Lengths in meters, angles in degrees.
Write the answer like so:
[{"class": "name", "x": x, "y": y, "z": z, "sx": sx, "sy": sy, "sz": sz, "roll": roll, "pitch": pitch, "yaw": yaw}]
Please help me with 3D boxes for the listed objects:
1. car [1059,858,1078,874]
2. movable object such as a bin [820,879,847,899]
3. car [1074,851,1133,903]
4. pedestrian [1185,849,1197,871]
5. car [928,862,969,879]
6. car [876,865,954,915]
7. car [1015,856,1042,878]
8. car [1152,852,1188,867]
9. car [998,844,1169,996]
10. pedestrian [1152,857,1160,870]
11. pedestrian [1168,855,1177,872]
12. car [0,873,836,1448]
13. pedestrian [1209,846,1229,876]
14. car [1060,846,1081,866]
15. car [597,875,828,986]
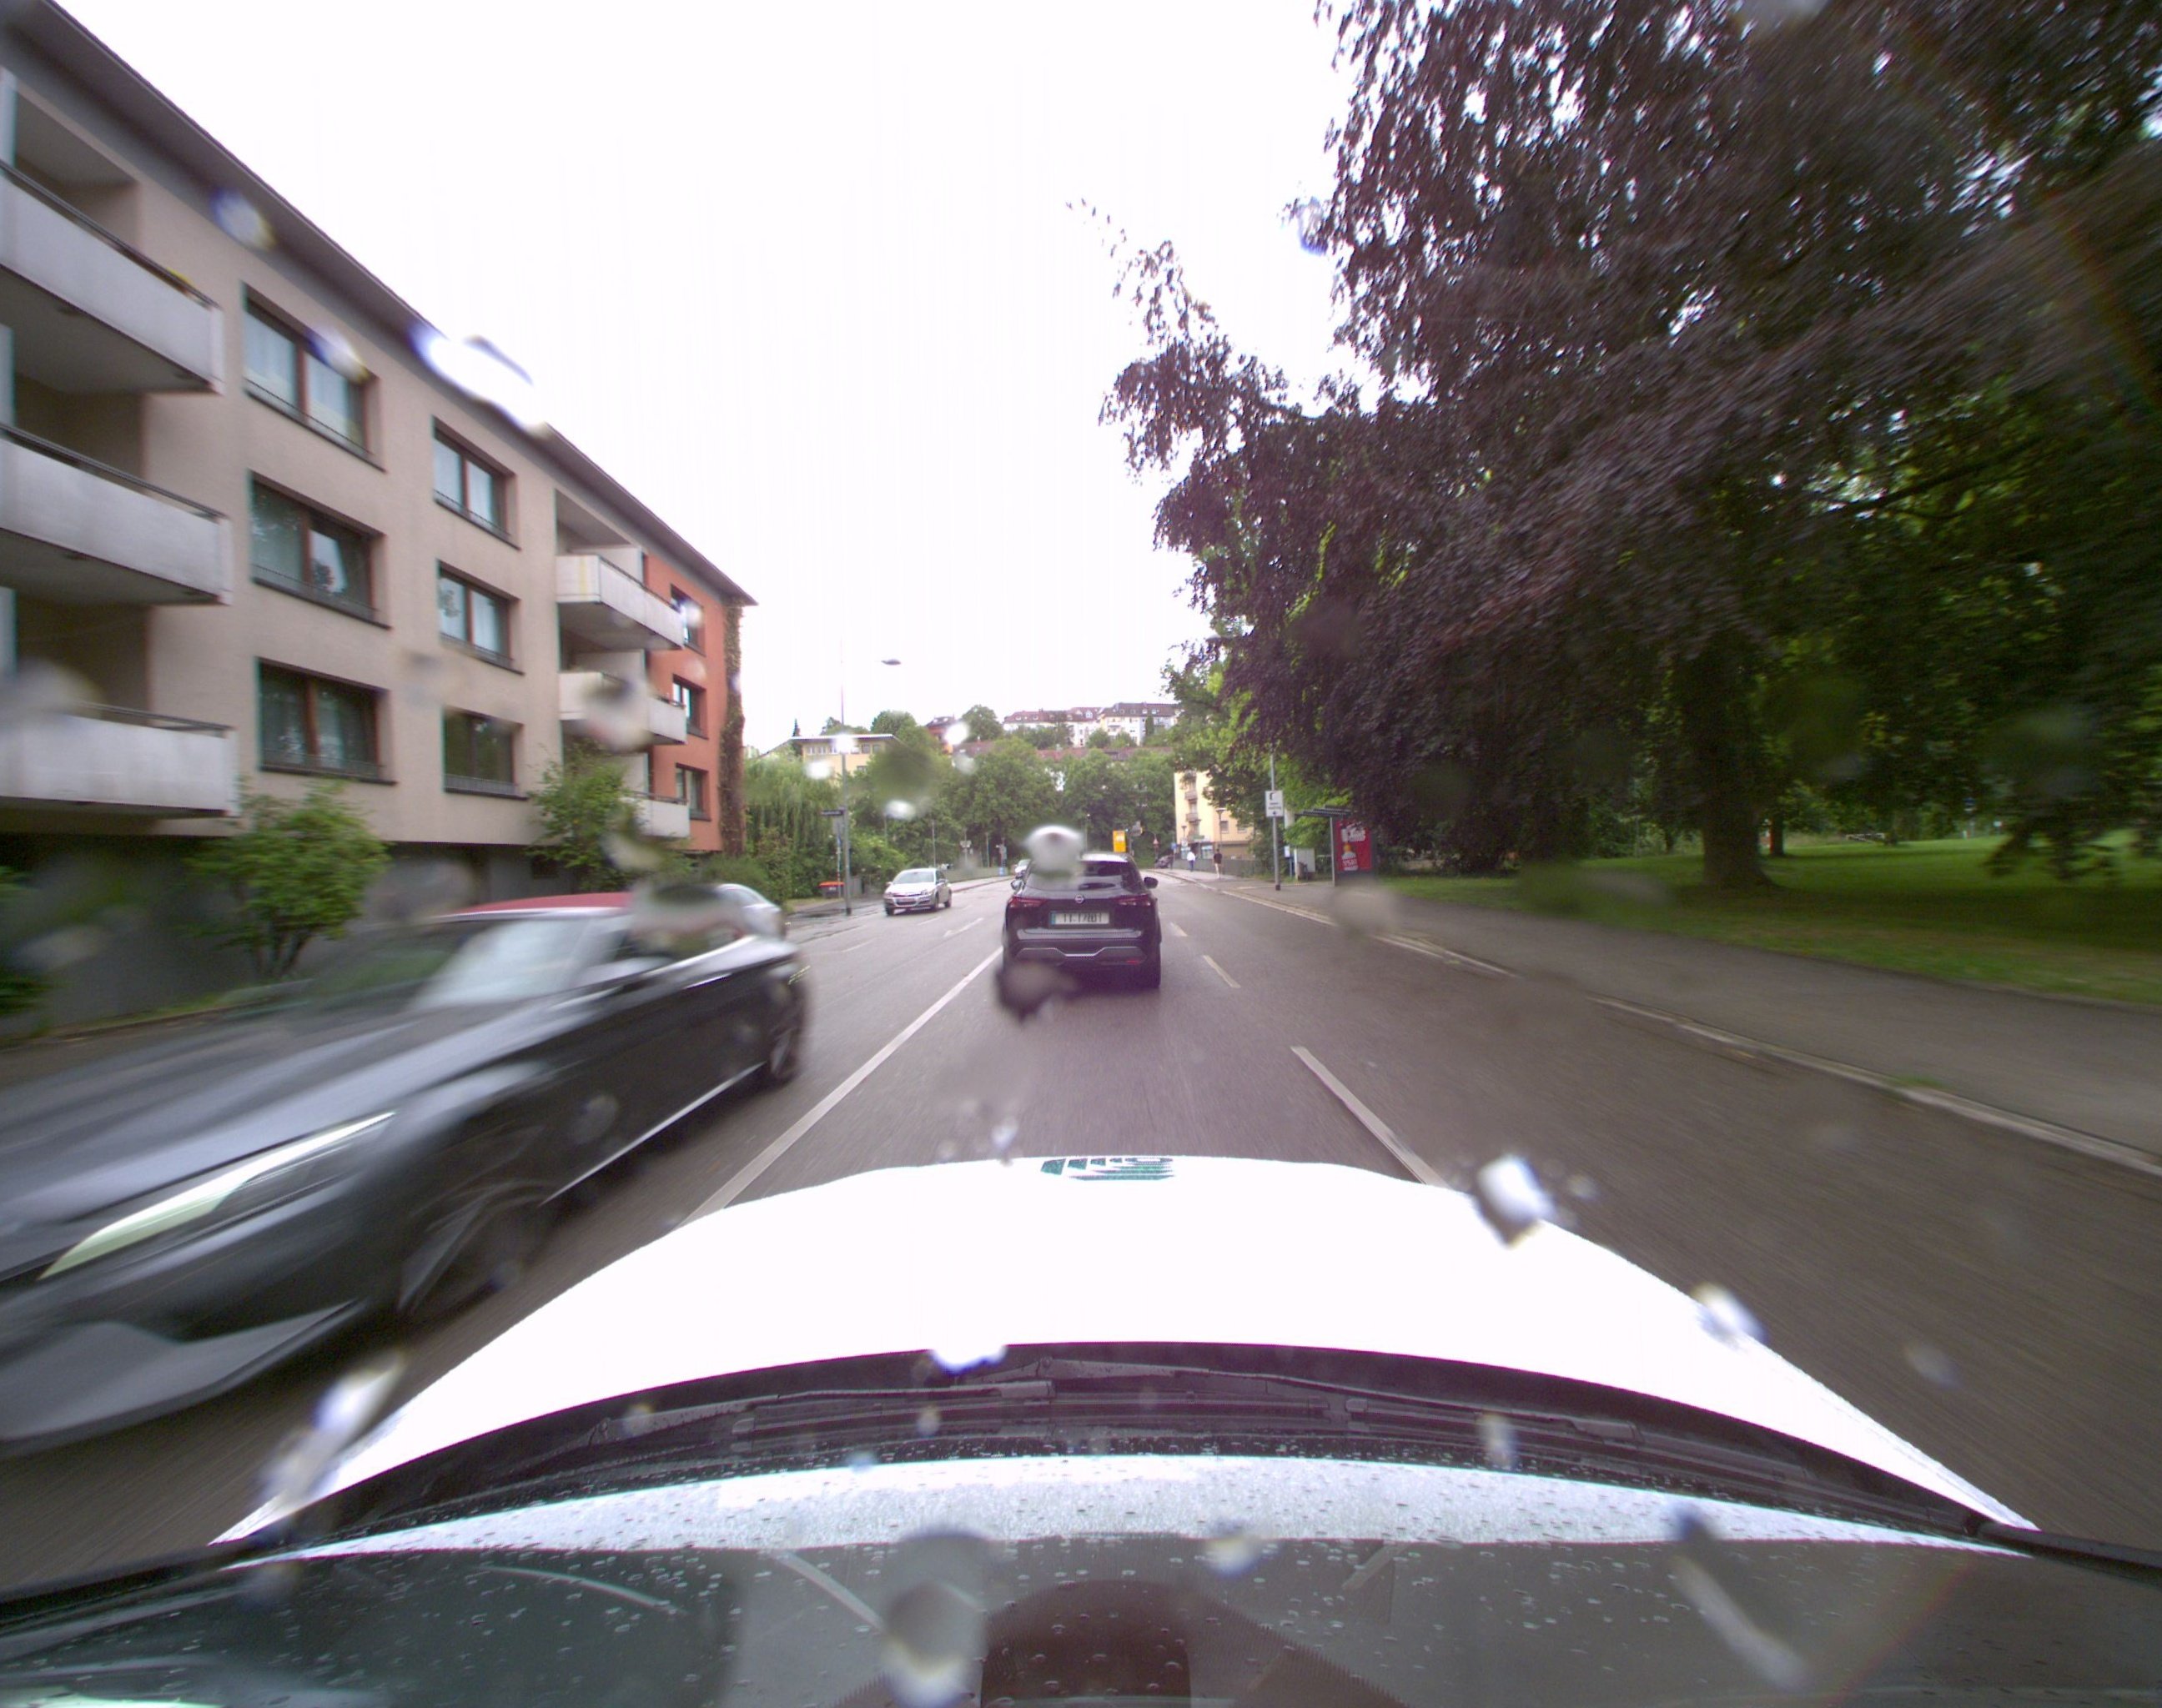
[{"class": "car", "x": -1.285, "y": 1.175, "z": 84.288, "sx": 1.776, "sy": 1.474, "sz": 4.165, "roll": -4, "pitch": 0, "yaw": -1}, {"class": "movable object such as a bin", "x": -11.833, "y": 1.658, "z": 39.001, "sx": 0.962, "sy": 0.877, "sz": 0.832, "roll": -3, "pitch": -1, "yaw": 1}, {"class": "car", "x": 0.766, "y": 0.710, "z": 27.417, "sx": 1.804, "sy": 1.603, "sz": 4.001, "roll": -1, "pitch": 0, "yaw": 1}, {"class": "pedestrian", "x": 9.053, "y": 0.502, "z": 66.884, "sx": 0.777, "sy": 1.752, "sz": 1.061, "roll": -2, "pitch": -1, "yaw": 1}, {"class": "car", "x": -16.202, "y": 1.990, "z": 99.861, "sx": 4.738, "sy": 1.854, "sz": 1.995, "roll": -2, "pitch": 1, "yaw": -8}, {"class": "car", "x": -5.599, "y": 1.181, "z": 27.965, "sx": 1.807, "sy": 1.415, "sz": 4.047, "roll": -4, "pitch": 0, "yaw": 0}, {"class": "car", "x": -4.111, "y": 1.007, "z": 64.169, "sx": 1.808, "sy": 1.579, "sz": 4.230, "roll": -4, "pitch": 0, "yaw": -1}, {"class": "car", "x": 11.935, "y": 0.748, "z": 109.239, "sx": 4.388, "sy": 1.649, "sz": 1.868, "roll": -3, "pitch": -1, "yaw": -25}, {"class": "car", "x": 0.082, "y": 0.712, "z": 10.790, "sx": 1.804, "sy": 1.603, "sz": 4.001, "roll": -1, "pitch": 0, "yaw": 1}, {"class": "pedestrian", "x": 10.052, "y": 1.261, "z": 109.038, "sx": 0.859, "sy": 1.619, "sz": 0.840, "roll": -3, "pitch": -1, "yaw": 1}, {"class": "pedestrian", "x": 9.271, "y": 0.933, "z": 82.823, "sx": 0.758, "sy": 1.677, "sz": 0.781, "roll": -4, "pitch": 0, "yaw": 1}, {"class": "car", "x": -2.964, "y": 0.925, "z": 4.422, "sx": 1.787, "sy": 1.415, "sz": 4.336, "roll": -4, "pitch": 0, "yaw": 1}, {"class": "pedestrian", "x": 7.878, "y": 0.409, "z": 46.582, "sx": 0.844, "sy": 1.676, "sz": 1.168, "roll": -4, "pitch": -1, "yaw": 1}, {"class": "car", "x": -1.294, "y": 0.264, "z": 103.028, "sx": 2.281, "sy": 2.308, "sz": 6.510, "roll": -4, "pitch": 0, "yaw": 1}, {"class": "car", "x": -6.247, "y": 1.201, "z": 14.526, "sx": 1.806, "sy": 1.415, "sz": 4.683, "roll": -4, "pitch": 0, "yaw": 1}]
